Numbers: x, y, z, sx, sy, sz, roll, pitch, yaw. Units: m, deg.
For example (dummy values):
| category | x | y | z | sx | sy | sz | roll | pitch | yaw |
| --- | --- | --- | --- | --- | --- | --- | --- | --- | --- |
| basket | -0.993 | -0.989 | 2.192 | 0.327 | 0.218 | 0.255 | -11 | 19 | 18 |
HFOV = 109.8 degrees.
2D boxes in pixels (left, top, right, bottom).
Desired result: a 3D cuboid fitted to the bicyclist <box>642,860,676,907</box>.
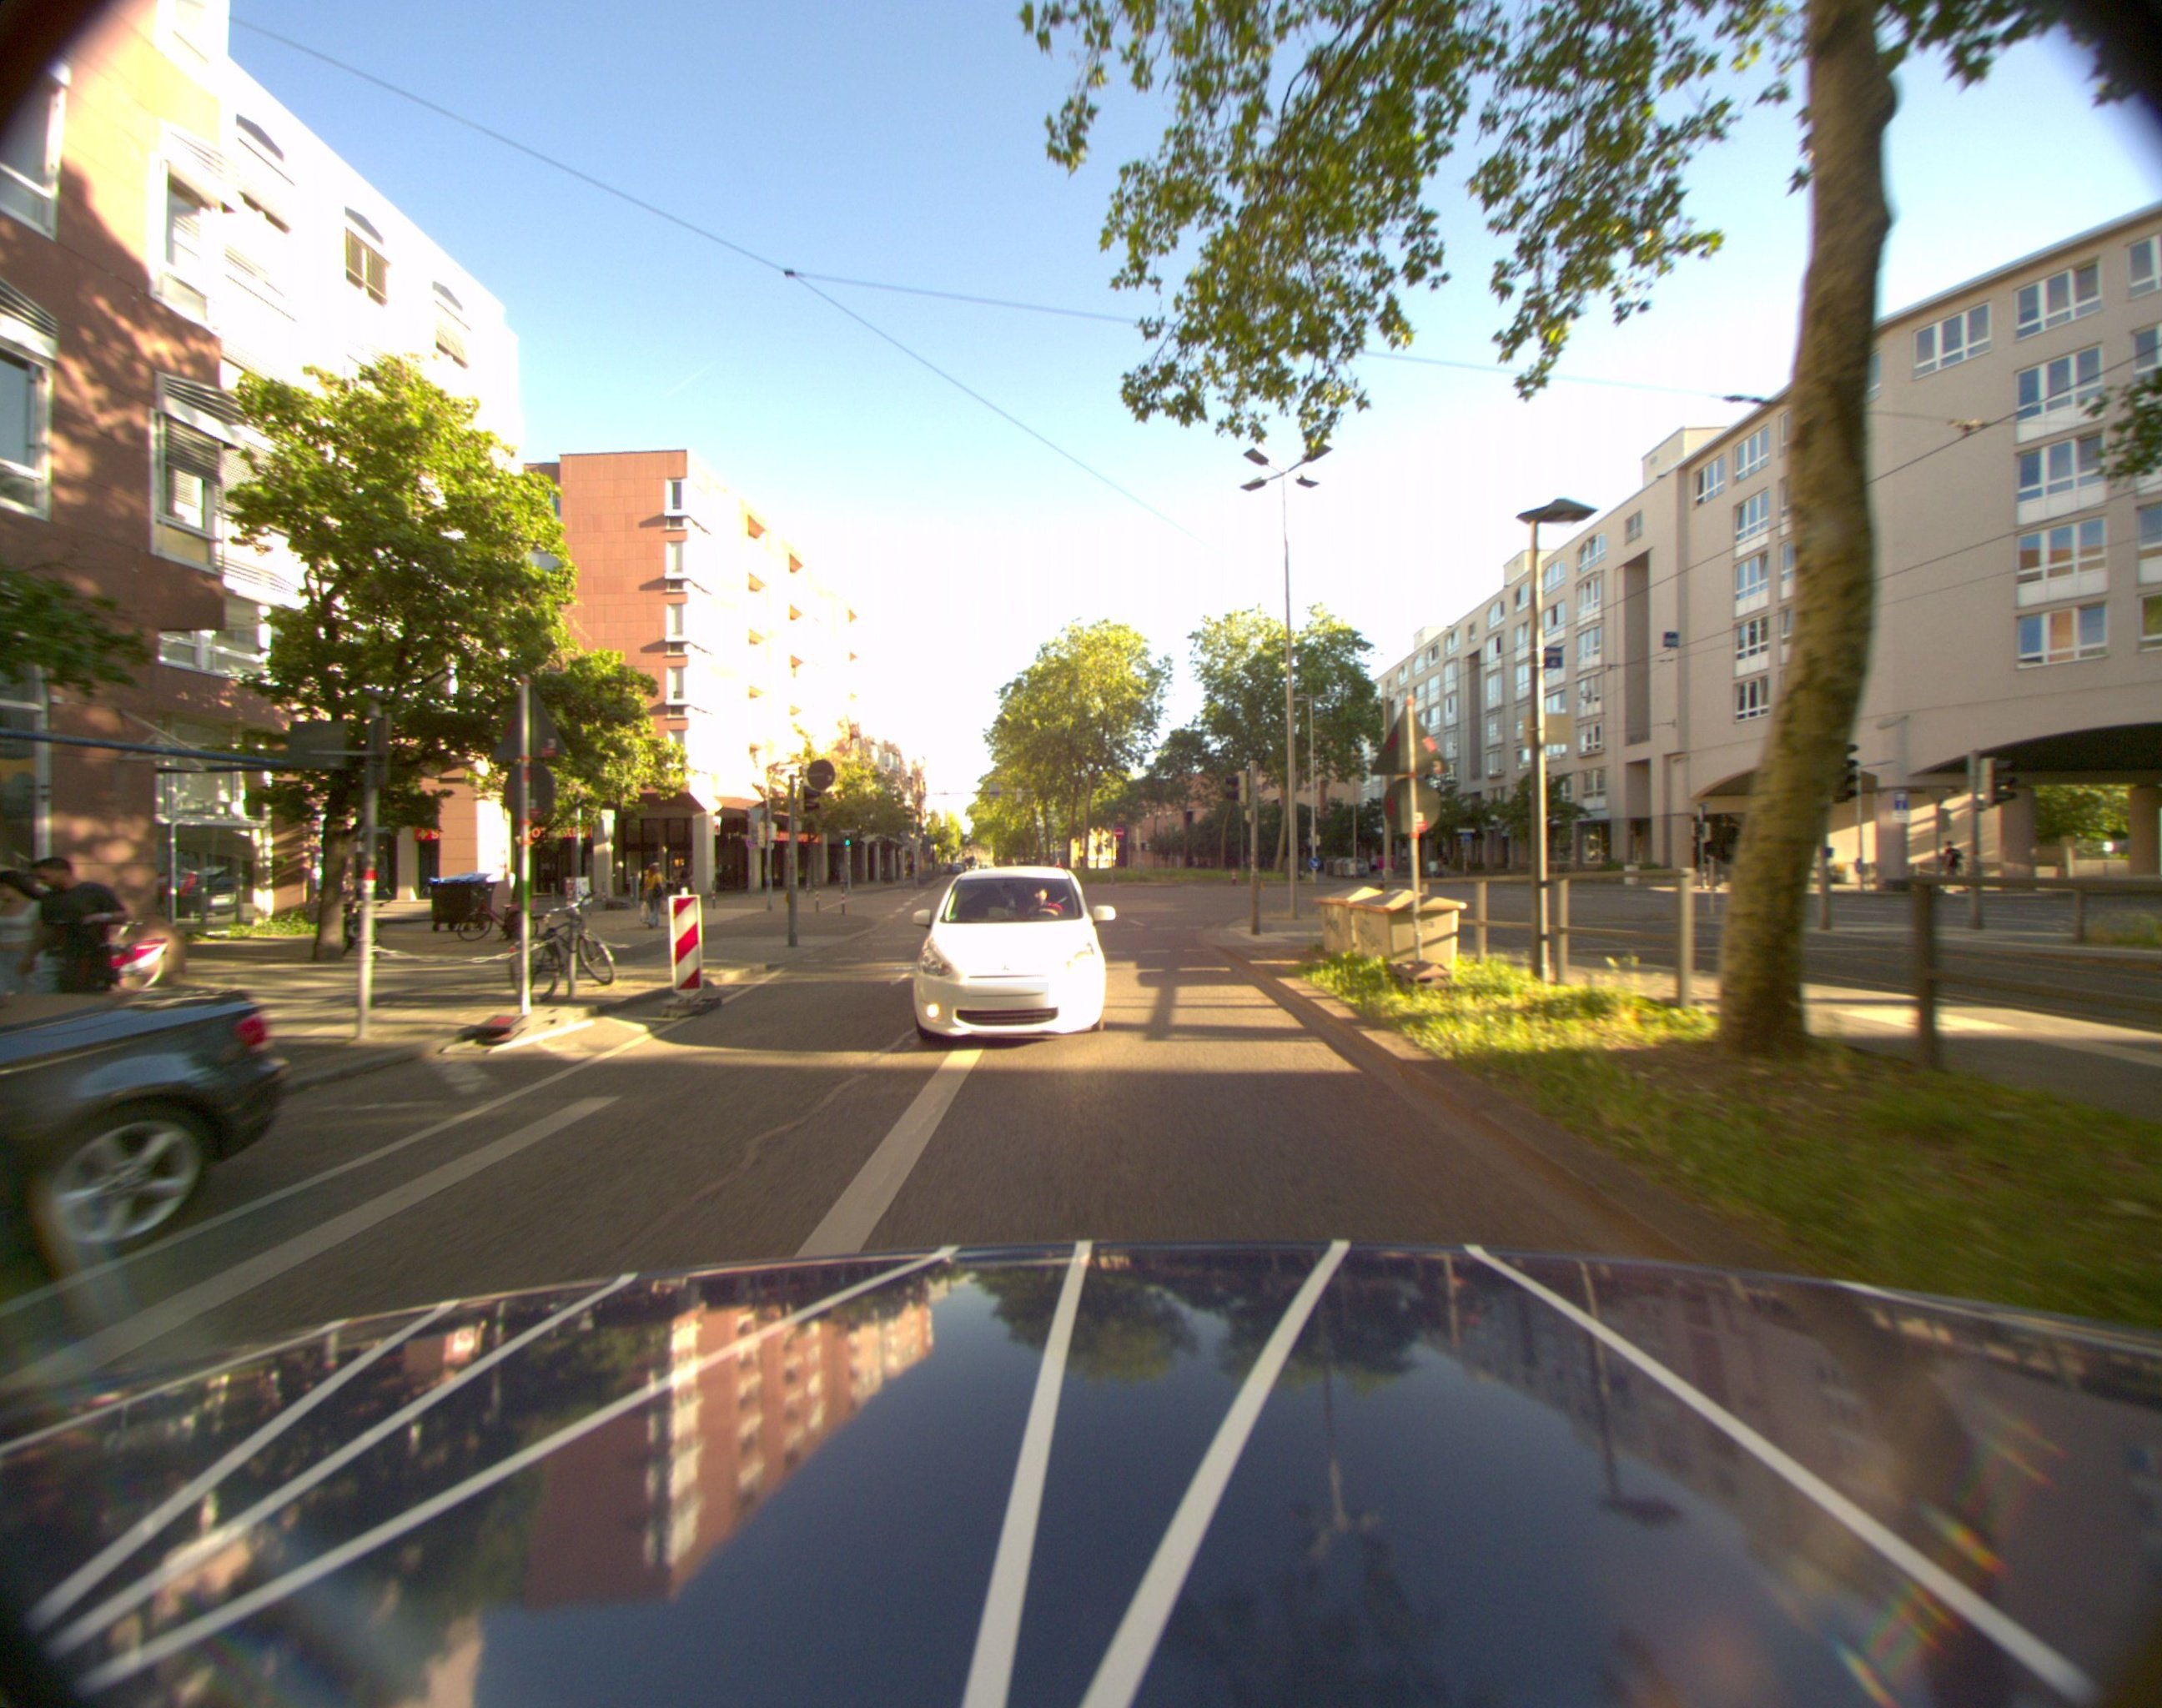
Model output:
| category | x | y | z | sx | sy | sz | roll | pitch | yaw |
| --- | --- | --- | --- | --- | --- | --- | --- | --- | --- |
| bicyclist | -16.240 | 1.117 | 29.277 | 0.827 | 1.760 | 0.788 | -1 | 1 | 0 |

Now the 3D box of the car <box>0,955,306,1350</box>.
| category | x | y | z | sx | sy | sz | roll | pitch | yaw |
| --- | --- | --- | --- | --- | --- | --- | --- | --- | --- |
| car | -4.768 | 1.169 | 1.689 | 1.624 | 1.295 | 4.311 | -1 | 0 | 1 |

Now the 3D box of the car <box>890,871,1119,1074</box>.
| category | x | y | z | sx | sy | sz | roll | pitch | yaw |
| --- | --- | --- | --- | --- | --- | --- | --- | --- | --- |
| car | -0.740 | 0.969 | 8.186 | 1.721 | 1.442 | 4.423 | -3 | 0 | -4 |

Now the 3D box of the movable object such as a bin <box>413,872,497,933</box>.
| category | x | y | z | sx | sy | sz | roll | pitch | yaw |
| --- | --- | --- | --- | --- | --- | --- | --- | --- | --- |
| movable object such as a bin | -15.899 | 1.216 | 19.330 | 1.413 | 1.473 | 0.872 | -1 | 0 | 4 |

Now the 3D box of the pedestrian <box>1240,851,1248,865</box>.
| category | x | y | z | sx | sy | sz | roll | pitch | yaw |
| --- | --- | --- | --- | --- | --- | --- | --- | --- | --- |
| pedestrian | 21.737 | 0.569 | 101.366 | 0.826 | 1.820 | 0.900 | -1 | 0 | -7 |

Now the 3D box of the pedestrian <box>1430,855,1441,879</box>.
| category | x | y | z | sx | sy | sz | roll | pitch | yaw |
| --- | --- | --- | --- | --- | --- | --- | --- | --- | --- |
| pedestrian | 22.724 | 0.824 | 48.647 | 0.533 | 1.494 | 0.621 | -1 | 0 | 16 |

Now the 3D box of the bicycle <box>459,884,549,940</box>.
| category | x | y | z | sx | sy | sz | roll | pitch | yaw |
| --- | --- | --- | --- | --- | --- | --- | --- | --- | --- |
| bicycle | -13.070 | 1.305 | 17.239 | 1.571 | 1.220 | 0.577 | -1 | 0 | -2 |

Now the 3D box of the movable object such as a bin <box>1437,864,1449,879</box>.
| category | x | y | z | sx | sy | sz | roll | pitch | yaw |
| --- | --- | --- | --- | --- | --- | --- | --- | --- | --- |
| movable object such as a bin | 22.791 | 1.098 | 47.804 | 0.511 | 0.948 | 0.540 | -1 | 0 | 5 |

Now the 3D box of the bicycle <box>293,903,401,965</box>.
| category | x | y | z | sx | sy | sz | roll | pitch | yaw |
| --- | --- | --- | --- | --- | --- | --- | --- | --- | --- |
| bicycle | -13.687 | 1.470 | 14.171 | 1.748 | 1.047 | 0.740 | -1 | 0 | 19 |

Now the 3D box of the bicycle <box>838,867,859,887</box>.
| category | x | y | z | sx | sy | sz | roll | pitch | yaw |
| --- | --- | --- | --- | --- | --- | --- | --- | --- | --- |
| bicycle | -14.758 | 1.443 | 48.282 | 0.623 | 1.218 | 1.927 | -1 | 0 | 5 |

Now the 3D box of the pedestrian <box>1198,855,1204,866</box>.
| category | x | y | z | sx | sy | sz | roll | pitch | yaw |
| --- | --- | --- | --- | --- | --- | --- | --- | --- | --- |
| pedestrian | 18.651 | 1.079 | 118.219 | 0.666 | 1.712 | 0.796 | -1 | 0 | -9 |

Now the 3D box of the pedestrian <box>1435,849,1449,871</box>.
| category | x | y | z | sx | sy | sz | roll | pitch | yaw |
| --- | --- | --- | --- | --- | --- | --- | --- | --- | --- |
| pedestrian | 27.012 | 0.466 | 56.878 | 0.708 | 1.629 | 0.788 | -1 | 0 | 3 |

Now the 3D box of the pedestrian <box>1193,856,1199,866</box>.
| category | x | y | z | sx | sy | sz | roll | pitch | yaw |
| --- | --- | --- | --- | --- | --- | --- | --- | --- | --- |
| pedestrian | 18.146 | 1.071 | 120.021 | 0.666 | 1.607 | 0.756 | -1 | 0 | -9 |

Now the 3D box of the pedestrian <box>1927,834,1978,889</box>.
| category | x | y | z | sx | sy | sz | roll | pitch | yaw |
| --- | --- | --- | --- | --- | --- | --- | --- | --- | --- |
| pedestrian | 32.254 | 0.270 | 28.132 | 0.836 | 2.002 | 0.888 | -1 | 0 | 4 |

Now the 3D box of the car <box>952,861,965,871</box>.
| category | x | y | z | sx | sy | sz | roll | pitch | yaw |
| --- | --- | --- | --- | --- | --- | --- | --- | --- | --- |
| car | -19.112 | 1.858 | 118.943 | 1.707 | 1.475 | 4.246 | 0 | 0 | -5 |

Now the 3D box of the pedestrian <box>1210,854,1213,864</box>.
| category | x | y | z | sx | sy | sz | roll | pitch | yaw |
| --- | --- | --- | --- | --- | --- | --- | --- | --- | --- |
| pedestrian | 20.310 | 0.781 | 118.059 | 0.484 | 1.496 | 0.464 | -1 | 0 | 11 |

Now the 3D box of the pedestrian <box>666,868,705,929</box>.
| category | x | y | z | sx | sy | sz | roll | pitch | yaw |
| --- | --- | --- | --- | --- | --- | --- | --- | --- | --- |
| pedestrian | -10.386 | 1.153 | 19.986 | 0.646 | 1.569 | 0.748 | -1 | 0 | -4 |

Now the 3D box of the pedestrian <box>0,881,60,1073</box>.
| category | x | y | z | sx | sy | sz | roll | pitch | yaw |
| --- | --- | --- | --- | --- | --- | --- | --- | --- | --- |
| pedestrian | -9.679 | 1.082 | 6.679 | 0.460 | 1.663 | 0.679 | -1 | 0 | -6 |

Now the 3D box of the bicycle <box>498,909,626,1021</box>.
| category | x | y | z | sx | sy | sz | roll | pitch | yaw |
| --- | --- | --- | --- | --- | --- | --- | --- | --- | --- |
| bicycle | -6.059 | 1.247 | 8.989 | 0.740 | 1.047 | 1.749 | -1 | 0 | -17 |

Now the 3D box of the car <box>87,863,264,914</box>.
| category | x | y | z | sx | sy | sz | roll | pitch | yaw |
| --- | --- | --- | --- | --- | --- | --- | --- | --- | --- |
| car | -32.390 | 1.211 | 27.273 | 4.195 | 1.712 | 1.801 | -1 | 0 | 1 |

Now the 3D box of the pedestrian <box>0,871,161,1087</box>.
| category | x | y | z | sx | sy | sz | roll | pitch | yaw |
| --- | --- | --- | --- | --- | --- | --- | --- | --- | --- |
| pedestrian | -8.652 | 1.029 | 6.498 | 0.787 | 1.753 | 0.610 | -1 | 0 | 1 |

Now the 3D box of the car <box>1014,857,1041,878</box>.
| category | x | y | z | sx | sy | sz | roll | pitch | yaw |
| --- | --- | --- | --- | --- | --- | --- | --- | --- | --- |
| car | -4.310 | 1.043 | 60.531 | 1.825 | 1.630 | 3.997 | -1 | 0 | -8 |

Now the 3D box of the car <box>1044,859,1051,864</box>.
| category | x | y | z | sx | sy | sz | roll | pitch | yaw |
| --- | --- | --- | --- | --- | --- | --- | --- | --- | --- |
| car | -10.232 | 2.221 | 232.914 | 1.676 | 1.420 | 4.147 | -1 | 0 | -9 |

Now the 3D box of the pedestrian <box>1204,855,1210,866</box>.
| category | x | y | z | sx | sy | sz | roll | pitch | yaw |
| --- | --- | --- | --- | --- | --- | --- | --- | --- | --- |
| pedestrian | 19.670 | 0.986 | 118.633 | 0.613 | 1.669 | 0.595 | -1 | 0 | -9 |

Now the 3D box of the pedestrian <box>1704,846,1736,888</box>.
| category | x | y | z | sx | sy | sz | roll | pitch | yaw |
| --- | --- | --- | --- | --- | --- | --- | --- | --- | --- |
| pedestrian | 28.645 | 0.574 | 34.075 | 0.858 | 1.858 | 0.751 | 0 | 0 | -13 |

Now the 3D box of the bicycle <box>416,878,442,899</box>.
| category | x | y | z | sx | sy | sz | roll | pitch | yaw |
| --- | --- | --- | --- | --- | --- | --- | --- | --- | --- |
| bicycle | -33.210 | 1.745 | 38.715 | 1.314 | 1.014 | 0.613 | -1 | 0 | 31 |

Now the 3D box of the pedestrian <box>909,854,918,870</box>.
| category | x | y | z | sx | sy | sz | roll | pitch | yaw |
| --- | --- | --- | --- | --- | --- | --- | --- | --- | --- |
| pedestrian | -21.135 | 1.015 | 95.652 | 0.820 | 1.970 | 0.846 | -1 | 0 | -34 |

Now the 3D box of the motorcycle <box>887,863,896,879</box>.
| category | x | y | z | sx | sy | sz | roll | pitch | yaw |
| --- | --- | --- | --- | --- | --- | --- | --- | --- | --- |
| motorcycle | -16.761 | 1.486 | 67.204 | 0.490 | 1.364 | 2.089 | -1 | 0 | -8 |

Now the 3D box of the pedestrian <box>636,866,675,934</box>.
| category | x | y | z | sx | sy | sz | roll | pitch | yaw |
| --- | --- | --- | --- | --- | --- | --- | --- | --- | --- |
| pedestrian | -11.258 | 1.199 | 20.118 | 0.703 | 1.723 | 0.766 | -1 | 0 | -15 |

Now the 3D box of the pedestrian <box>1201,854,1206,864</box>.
| category | x | y | z | sx | sy | sz | roll | pitch | yaw |
| --- | --- | --- | --- | --- | --- | --- | --- | --- | --- |
| pedestrian | 19.079 | 0.740 | 118.420 | 0.666 | 1.607 | 0.756 | -1 | 0 | -9 |

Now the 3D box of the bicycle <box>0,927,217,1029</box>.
| category | x | y | z | sx | sy | sz | roll | pitch | yaw |
| --- | --- | --- | --- | --- | --- | --- | --- | --- | --- |
| bicycle | -11.690 | 1.427 | 9.100 | 0.739 | 0.934 | 1.751 | -1 | 0 | -4 |

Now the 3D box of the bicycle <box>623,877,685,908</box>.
| category | x | y | z | sx | sy | sz | roll | pitch | yaw |
| --- | --- | --- | --- | --- | --- | --- | --- | --- | --- |
| bicycle | -16.456 | 1.476 | 29.283 | 1.919 | 1.106 | 0.803 | -1 | 1 | 0 |

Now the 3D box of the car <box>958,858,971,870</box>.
| category | x | y | z | sx | sy | sz | roll | pitch | yaw |
| --- | --- | --- | --- | --- | --- | --- | --- | --- | --- |
| car | -20.289 | 1.736 | 132.118 | 2.044 | 1.932 | 5.193 | 1 | -1 | -10 |

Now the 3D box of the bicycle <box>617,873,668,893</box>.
| category | x | y | z | sx | sy | sz | roll | pitch | yaw |
| --- | --- | --- | --- | --- | --- | --- | --- | --- | --- |
| bicycle | -24.214 | 1.597 | 41.970 | 2.448 | 1.088 | 0.593 | -1 | 0 | 1 |

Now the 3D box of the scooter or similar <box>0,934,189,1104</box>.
| category | x | y | z | sx | sy | sz | roll | pitch | yaw |
| --- | --- | --- | --- | --- | --- | --- | --- | --- | --- |
| scooter or similar | -8.379 | 1.311 | 6.343 | 0.395 | 1.151 | 1.249 | -1 | 0 | -2 |

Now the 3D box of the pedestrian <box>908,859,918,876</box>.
| category | x | y | z | sx | sy | sz | roll | pitch | yaw |
| --- | --- | --- | --- | --- | --- | --- | --- | --- | --- |
| pedestrian | -17.145 | 1.392 | 77.623 | 0.783 | 1.728 | 0.837 | -1 | 0 | 1 |
